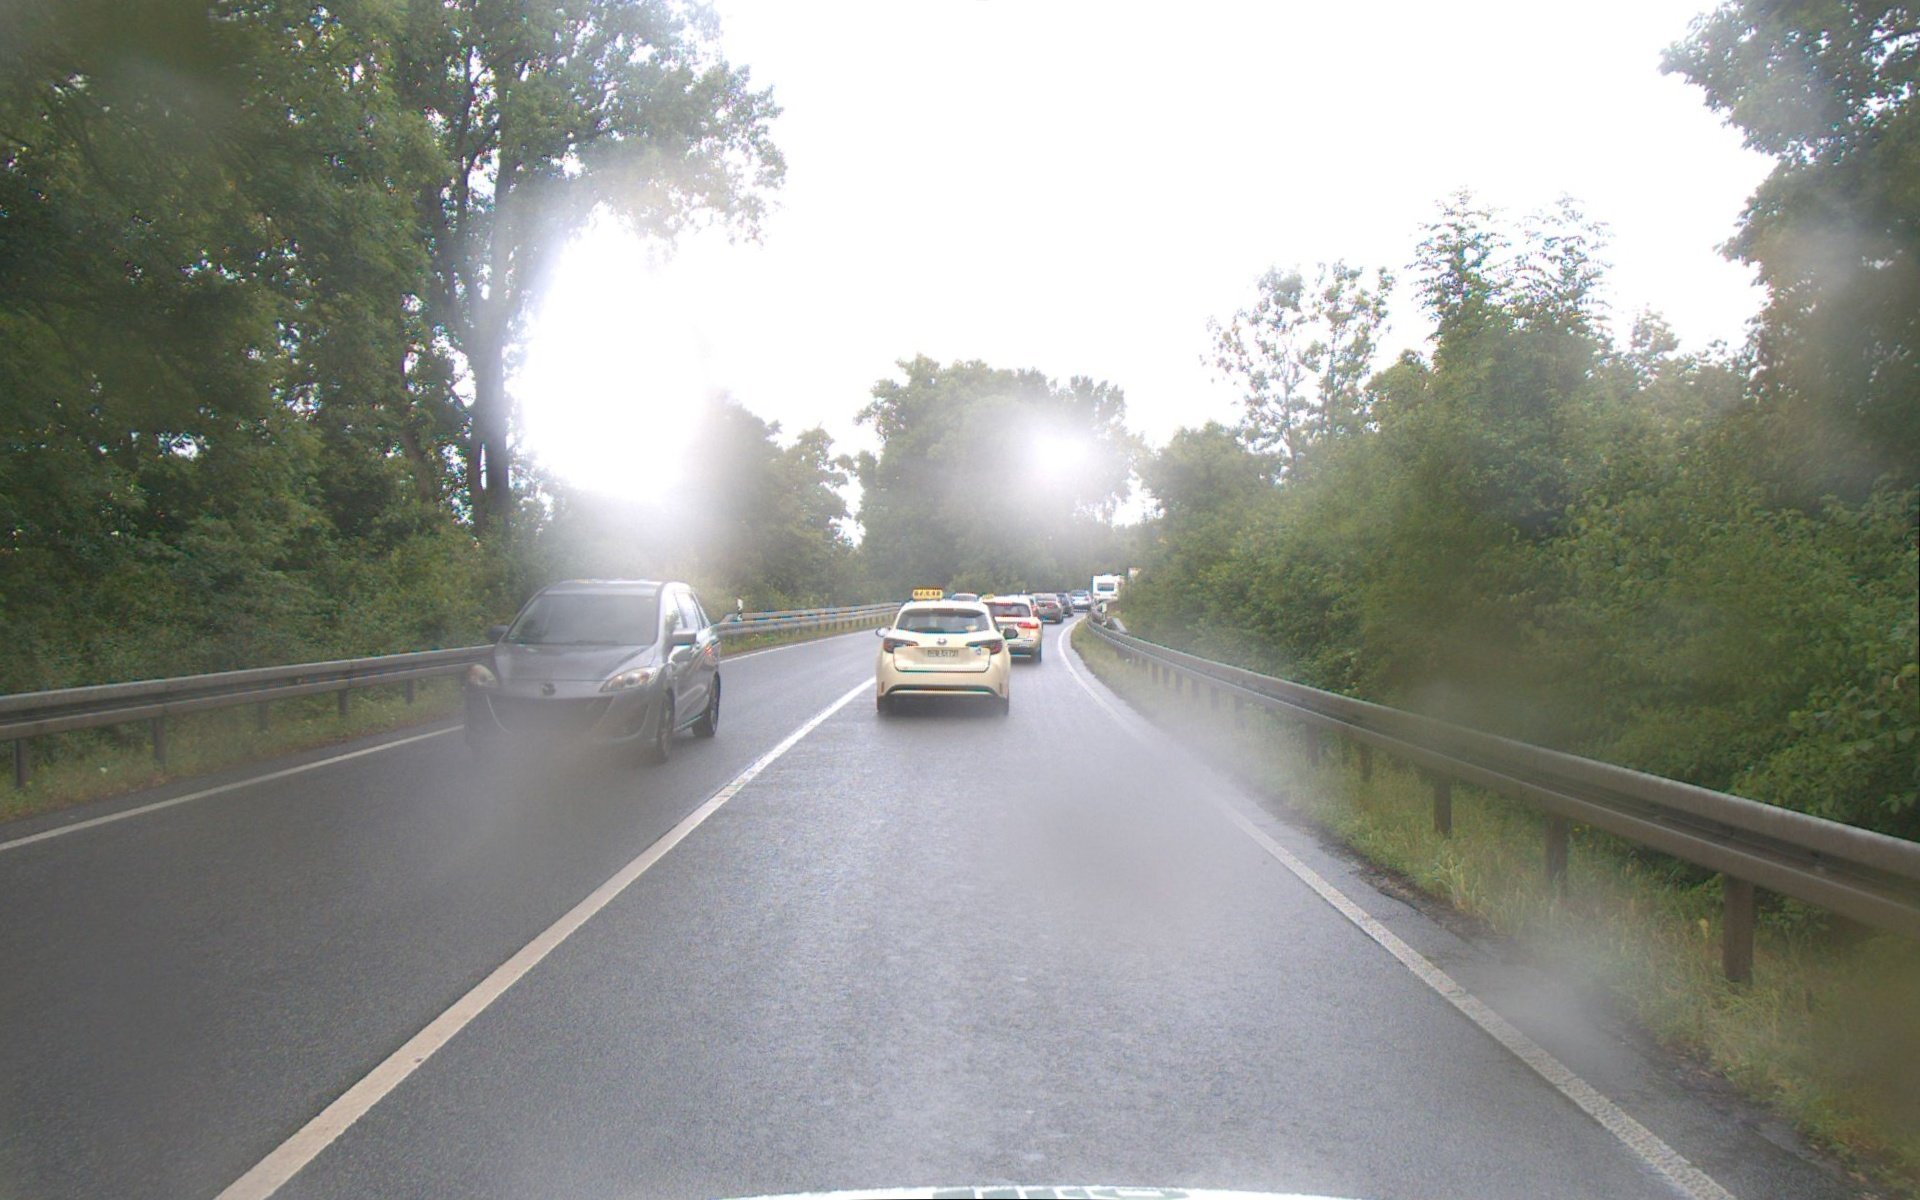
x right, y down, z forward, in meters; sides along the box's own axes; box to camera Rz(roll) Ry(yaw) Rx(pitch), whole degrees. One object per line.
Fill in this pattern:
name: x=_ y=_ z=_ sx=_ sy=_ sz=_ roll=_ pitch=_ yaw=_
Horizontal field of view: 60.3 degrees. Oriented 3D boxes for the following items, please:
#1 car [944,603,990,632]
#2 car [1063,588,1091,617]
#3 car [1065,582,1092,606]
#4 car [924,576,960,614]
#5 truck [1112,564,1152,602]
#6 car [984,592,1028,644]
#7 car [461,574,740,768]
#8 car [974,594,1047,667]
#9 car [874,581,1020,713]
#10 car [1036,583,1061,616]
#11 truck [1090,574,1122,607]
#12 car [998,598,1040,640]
car: x=0.389 y=0.894 z=83.180 sx=1.774 sy=1.378 sz=4.003 roll=1 pitch=-1 yaw=8
car: x=6.879 y=0.176 z=97.118 sx=1.582 sy=1.641 sz=3.623 roll=1 pitch=-1 yaw=4
car: x=8.379 y=-0.426 z=116.837 sx=1.732 sy=1.574 sz=3.816 roll=1 pitch=-1 yaw=7
car: x=-1.025 y=-0.267 z=95.282 sx=1.952 sy=2.049 sz=4.000 roll=1 pitch=-1 yaw=1
truck: x=17.950 y=-1.736 z=172.293 sx=3.041 sy=3.745 sz=7.004 roll=0 pitch=-1 yaw=15
car: x=1.420 y=0.568 z=52.224 sx=1.274 sy=1.574 sz=3.259 roll=1 pitch=-1 yaw=0
car: x=-3.293 y=0.578 z=15.997 sx=1.657 sy=1.601 sz=4.375 roll=1 pitch=0 yaw=1
car: x=1.179 y=0.715 z=39.024 sx=1.633 sy=1.608 sz=3.892 roll=1 pitch=-1 yaw=1
car: x=-0.149 y=0.611 z=22.616 sx=1.796 sy=1.608 sz=4.156 roll=1 pitch=-1 yaw=0
car: x=4.416 y=-0.018 z=82.668 sx=1.142 sy=1.574 sz=2.605 roll=1 pitch=-1 yaw=5
truck: x=12.749 y=-0.811 z=145.259 sx=2.496 sy=2.760 sz=7.537 roll=1 pitch=-1 yaw=3
car: x=2.263 y=0.758 z=63.952 sx=1.578 sy=1.574 sz=3.814 roll=0 pitch=-2 yaw=2
